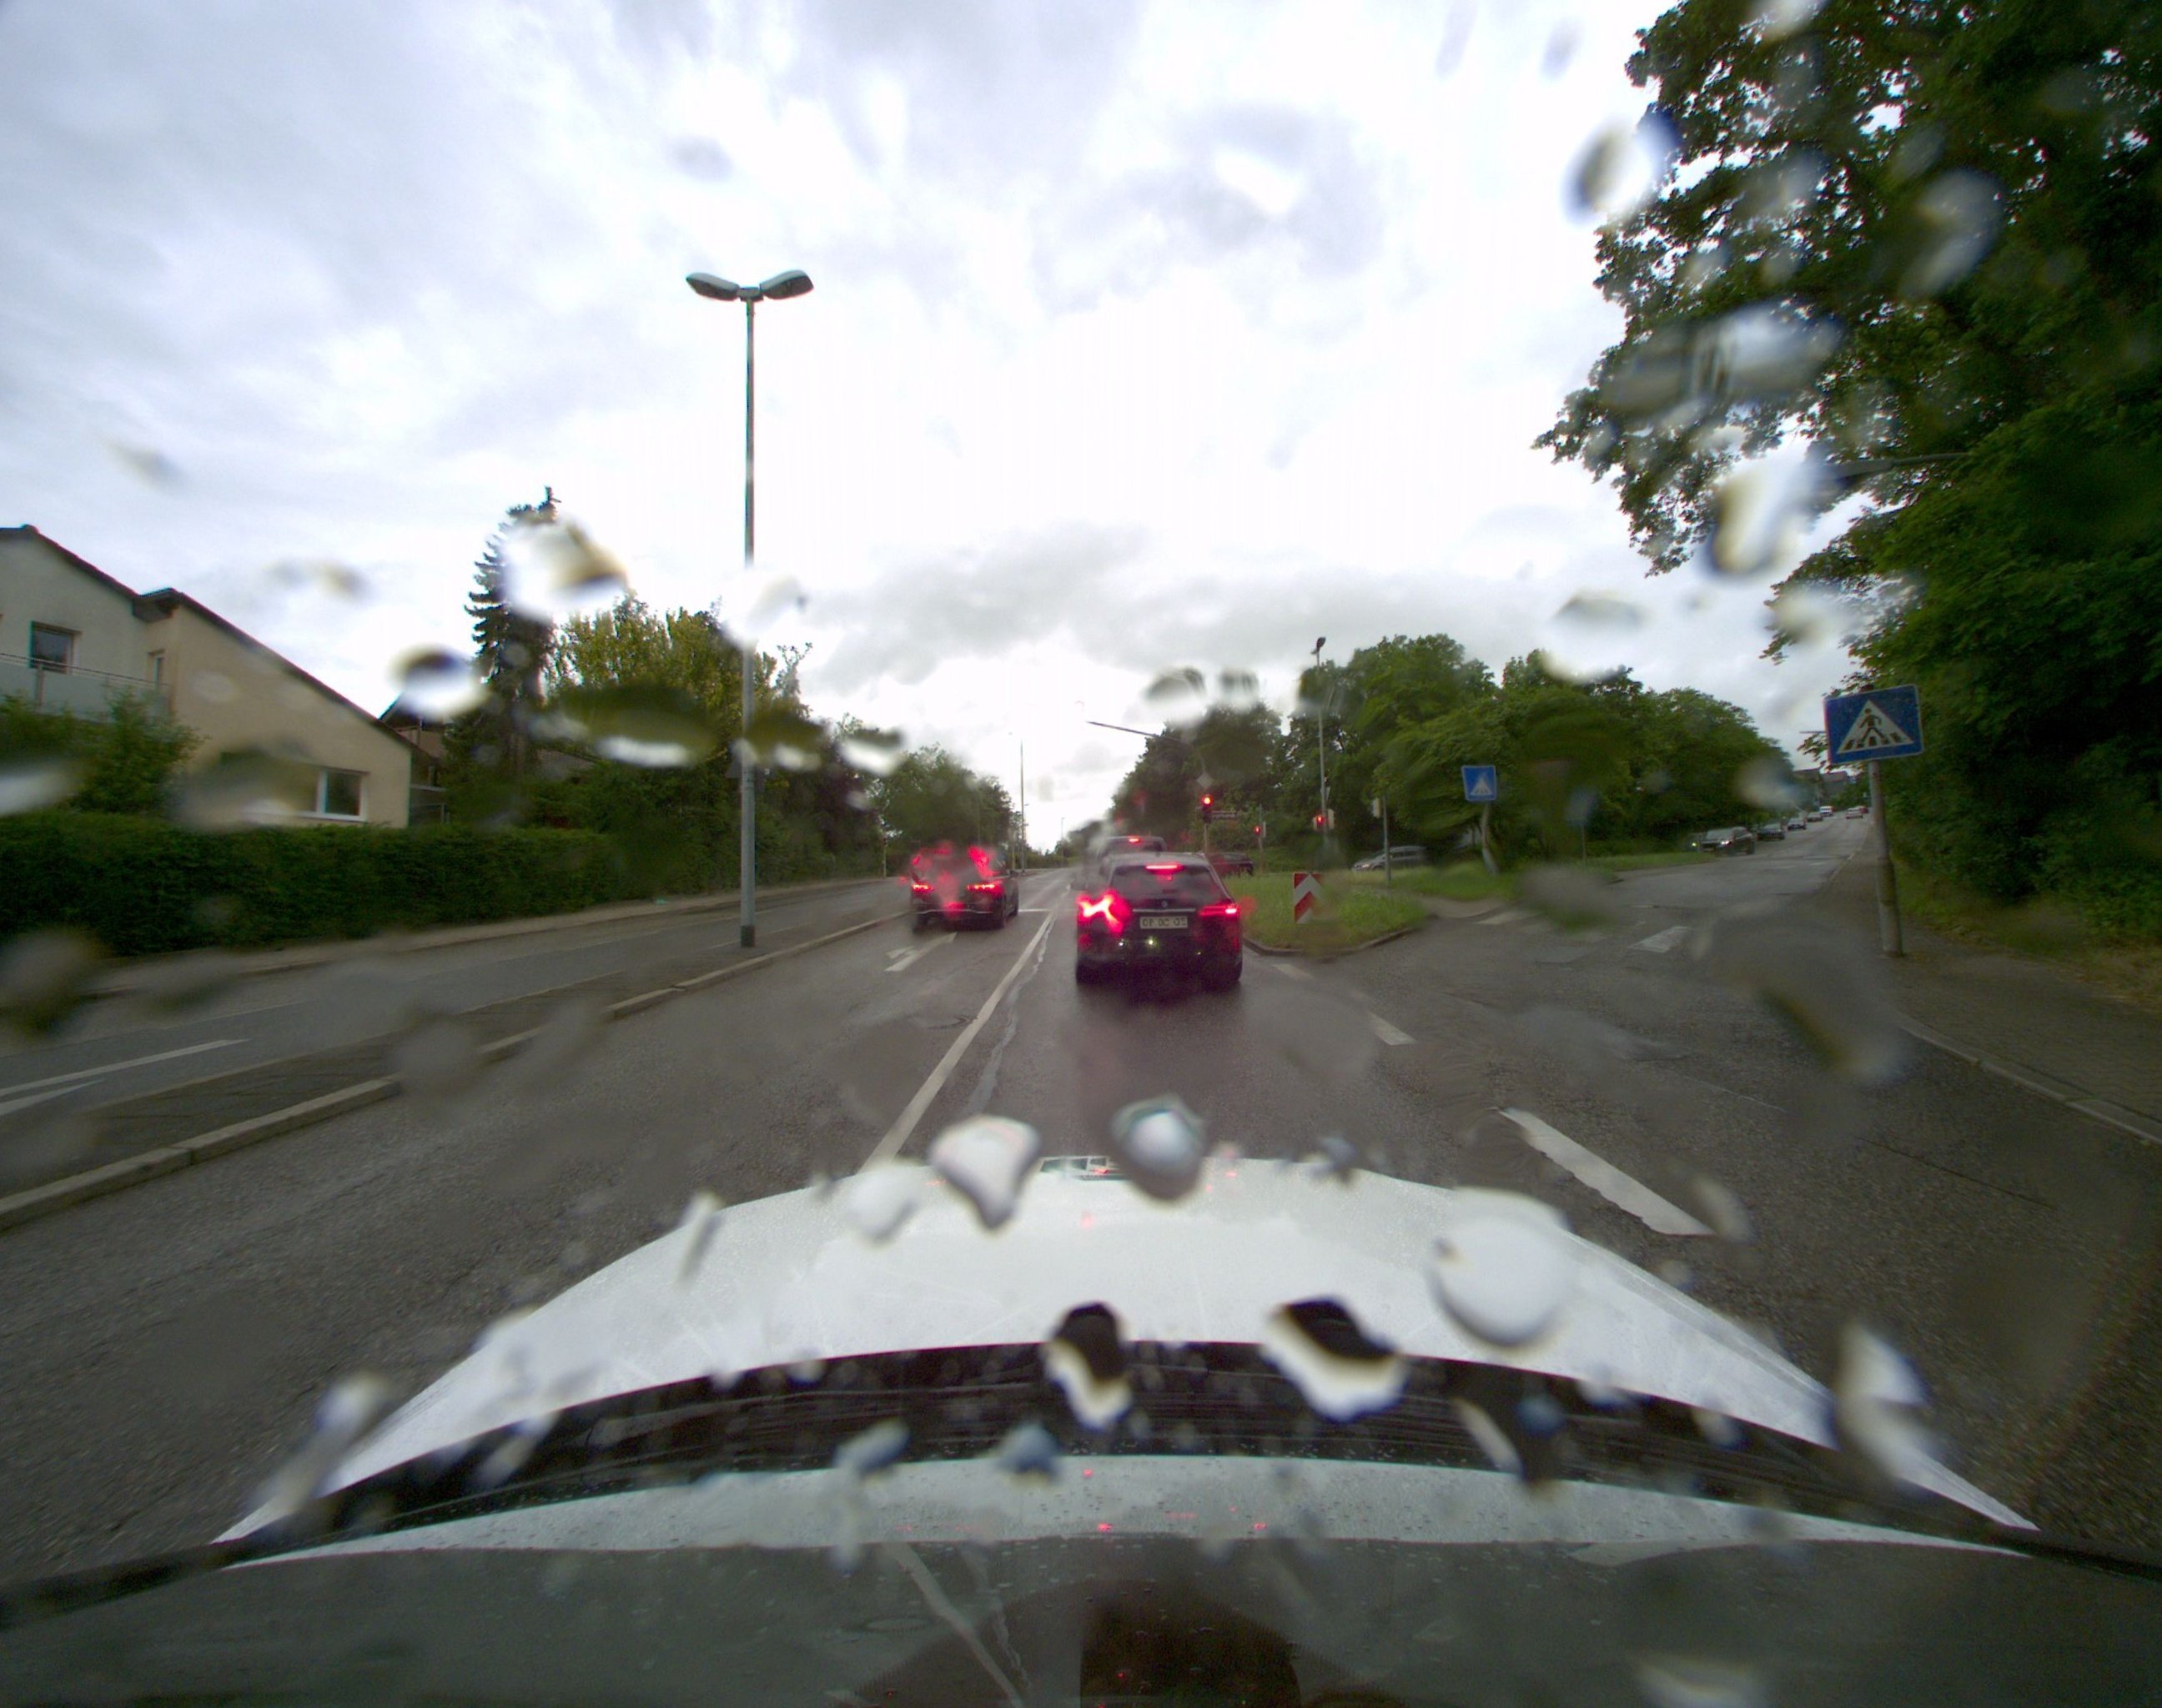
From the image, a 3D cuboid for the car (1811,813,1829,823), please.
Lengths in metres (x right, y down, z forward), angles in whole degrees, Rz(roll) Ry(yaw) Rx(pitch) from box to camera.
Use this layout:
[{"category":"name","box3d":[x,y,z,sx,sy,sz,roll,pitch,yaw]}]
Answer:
[{"category":"car","box3d":[114.717,-5.577,126.381,1.880,1.397,4.193,-1,-1,40]}]

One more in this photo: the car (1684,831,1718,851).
[{"category":"car","box3d":[46.184,-0.952,60.637,1.655,1.370,3.511,-2,0,43]}]

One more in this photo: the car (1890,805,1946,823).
[{"category":"car","box3d":[87.817,-4.139,85.508,3.949,1.574,1.785,-3,-1,42]}]

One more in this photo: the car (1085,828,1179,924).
[{"category":"car","box3d":[1.071,0.434,17.840,1.811,1.868,3.954,0,0,2]}]

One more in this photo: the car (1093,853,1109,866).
[{"category":"car","box3d":[2.634,0.724,106.372,1.986,1.624,3.954,-3,0,2]}]

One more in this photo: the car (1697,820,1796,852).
[{"category":"car","box3d":[39.886,-1.079,48.846,4.702,1.717,1.993,-2,0,-10]}]

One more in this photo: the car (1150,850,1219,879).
[{"category":"car","box3d":[5.721,0.585,44.946,3.476,1.427,1.710,-3,-1,15]}]

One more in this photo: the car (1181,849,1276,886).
[{"category":"car","box3d":[6.906,0.619,38.351,3.983,1.509,1.897,-2,0,-7]}]

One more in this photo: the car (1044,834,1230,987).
[{"category":"car","box3d":[0.784,0.607,10.627,1.889,1.551,4.621,0,-1,5]}]

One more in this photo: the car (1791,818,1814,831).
[{"category":"car","box3d":[88.400,-3.579,99.868,1.971,1.446,4.321,-1,-1,40]}]

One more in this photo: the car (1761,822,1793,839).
[{"category":"car","box3d":[66.452,-2.191,77.746,4.318,1.450,1.881,0,-1,-44]}]

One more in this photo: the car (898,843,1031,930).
[{"category":"car","box3d":[-2.310,0.626,17.393,1.986,1.527,4.330,-3,0,2]}]

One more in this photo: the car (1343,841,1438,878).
[{"category":"car","box3d":[15.293,0.275,40.350,4.016,1.602,1.743,-3,0,-8]}]
